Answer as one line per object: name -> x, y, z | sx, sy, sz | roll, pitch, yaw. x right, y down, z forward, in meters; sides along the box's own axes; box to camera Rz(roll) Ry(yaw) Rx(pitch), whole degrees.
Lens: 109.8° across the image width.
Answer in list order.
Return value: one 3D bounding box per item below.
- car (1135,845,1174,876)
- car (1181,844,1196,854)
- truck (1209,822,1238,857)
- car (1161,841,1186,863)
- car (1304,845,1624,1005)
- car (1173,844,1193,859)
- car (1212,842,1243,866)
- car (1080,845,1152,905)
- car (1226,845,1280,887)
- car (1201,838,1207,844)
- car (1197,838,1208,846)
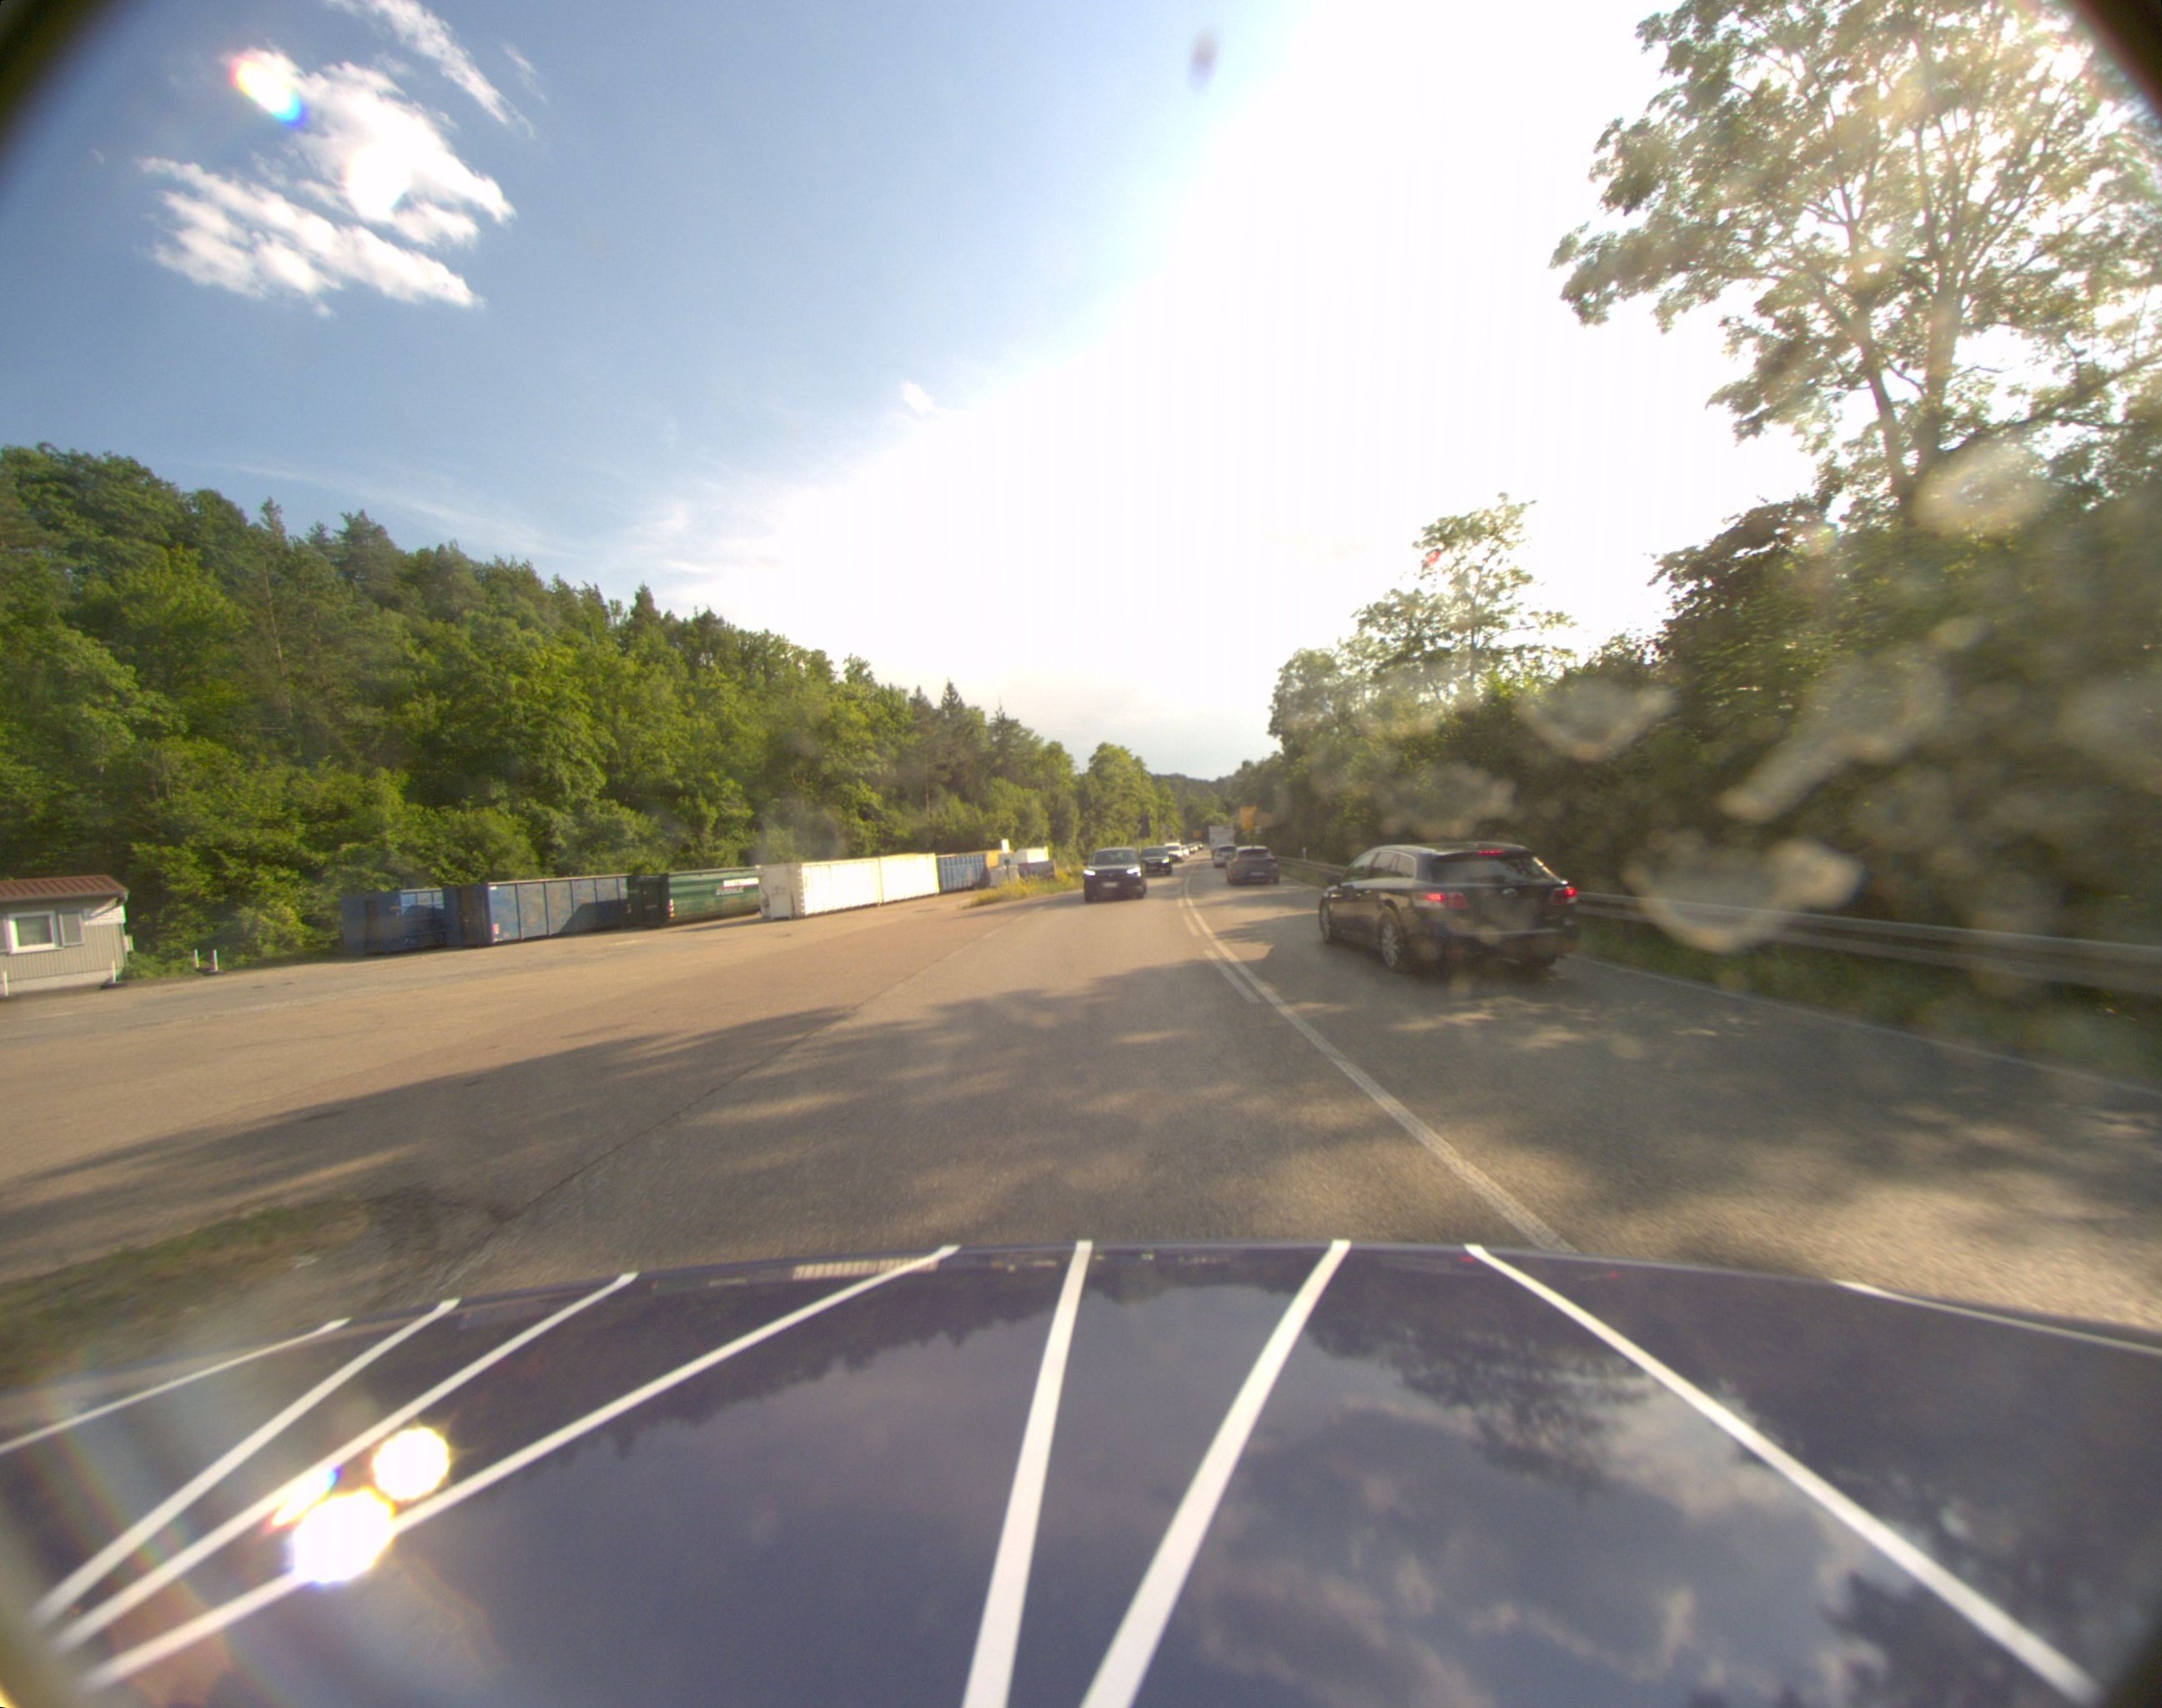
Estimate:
car -> 4.189, 0.326, 42.701 | 1.847, 1.561, 4.259 | -3, 1, 9
car -> 16.078, -0.766, 113.155 | 1.858, 1.412, 4.422 | -5, 0, 11
truck -> 13.649, -1.390, 72.276 | 2.460, 3.055, 6.268 | -2, 1, 12
car -> 8.107, -0.182, 66.486 | 1.866, 1.710, 4.766 | -5, 0, 9
car -> 4.372, 0.687, 9.600 | 1.855, 1.499, 4.403 | -2, 0, 1
car -> 11.907, -0.300, 88.348 | 1.895, 1.437, 4.478 | -5, 0, 11
car -> 9.596, -0.016, 50.017 | 1.795, 1.437, 3.796 | -3, 1, 9
car -> 1.251, 0.596, 24.850 | 1.858, 1.630, 4.443 | -5, 1, 8
car -> 6.531, 0.404, 29.156 | 1.663, 1.437, 3.923 | -3, 1, 8
car -> 40.277, -4.222, 249.593 | 1.795, 1.623, 4.259 | -5, 1, 10
car -> 23.025, -2.249, 143.836 | 1.895, 1.437, 4.478 | -3, 1, 10
